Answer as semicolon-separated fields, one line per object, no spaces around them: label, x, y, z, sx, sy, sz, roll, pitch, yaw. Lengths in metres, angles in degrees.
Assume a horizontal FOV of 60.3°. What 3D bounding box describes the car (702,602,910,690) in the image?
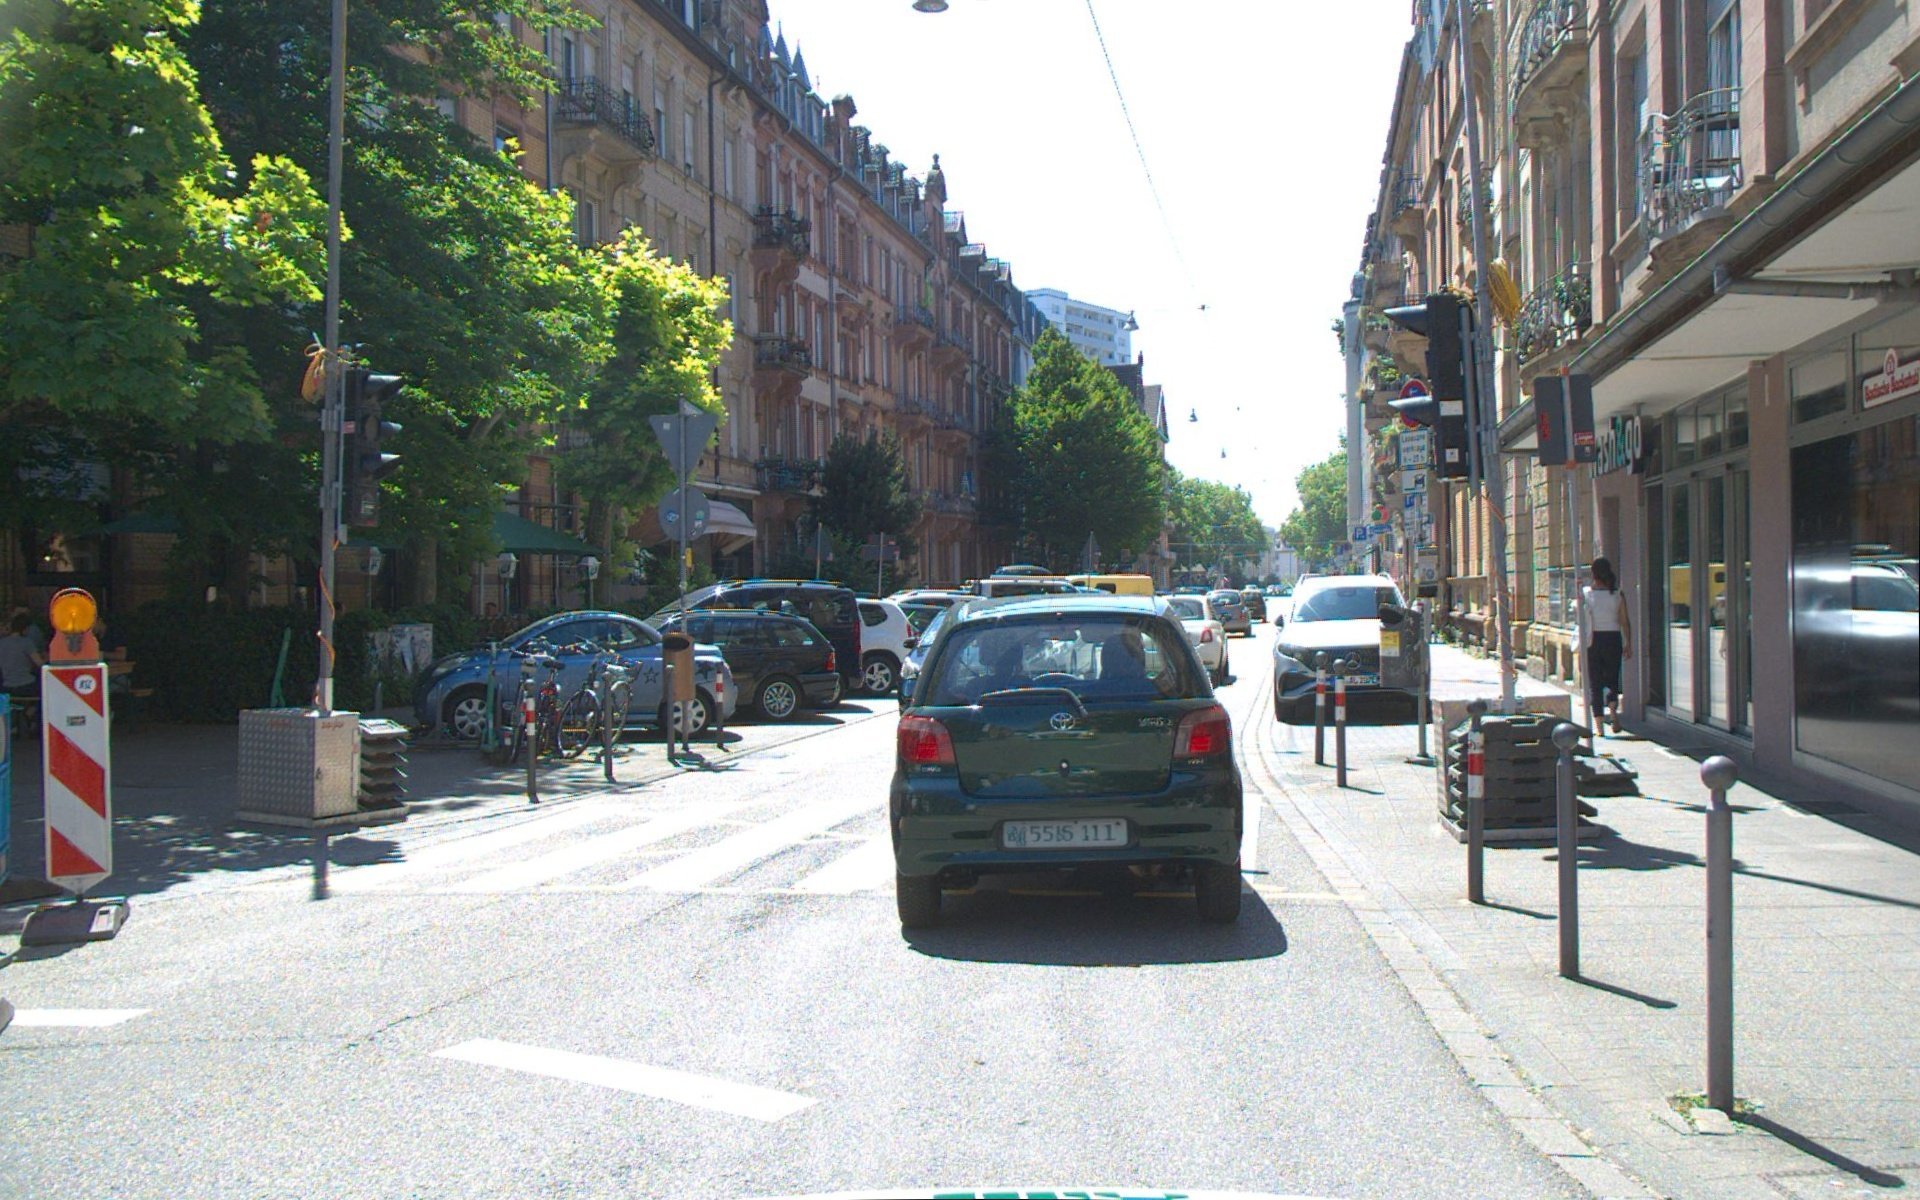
car;-2.770;0.792;29.451;3.555;1.483;1.620;0;0;-12

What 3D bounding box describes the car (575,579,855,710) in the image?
car;-3.672;0.616;24.656;3.925;1.836;1.760;0;0;-18

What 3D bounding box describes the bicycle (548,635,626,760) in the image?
bicycle;-3.896;0.996;17.384;0.481;1.193;1.684;0;1;-2

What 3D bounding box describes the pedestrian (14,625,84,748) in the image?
pedestrian;-9.588;0.900;17.422;0.548;1.241;0.594;-1;0;-23

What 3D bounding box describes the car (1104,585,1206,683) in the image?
car;3.424;0.545;28.711;1.490;1.547;3.267;-1;1;11

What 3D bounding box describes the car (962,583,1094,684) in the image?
car;1.376;0.578;31.556;1.717;1.673;4.381;-4;0;12

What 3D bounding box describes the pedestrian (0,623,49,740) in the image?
pedestrian;-10.388;0.886;18.204;0.548;1.241;0.594;-1;0;-23

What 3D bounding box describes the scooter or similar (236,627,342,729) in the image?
scooter or similar;-8.055;0.918;19.914;0.272;1.140;1.470;1;1;20

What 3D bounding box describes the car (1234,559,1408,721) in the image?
car;4.519;0.440;20.852;1.831;1.743;4.508;-3;0;12

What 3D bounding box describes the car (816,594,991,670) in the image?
car;-1.363;0.725;38.977;3.841;1.647;1.860;-1;0;-12

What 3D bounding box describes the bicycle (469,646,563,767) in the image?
bicycle;-4.514;1.055;16.917;0.480;1.100;1.898;0;1;-1

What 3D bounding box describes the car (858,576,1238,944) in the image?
car;0.363;0.684;8.697;1.581;1.511;3.240;-2;0;-1

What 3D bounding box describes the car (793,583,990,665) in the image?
car;-1.487;0.490;35.933;3.867;1.647;1.848;-1;0;-29

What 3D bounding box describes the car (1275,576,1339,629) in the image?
car;10.238;0.050;48.809;1.717;1.454;4.004;-2;0;12

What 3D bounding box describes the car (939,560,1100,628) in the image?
car;1.884;-0.192;52.783;4.698;2.029;2.044;-1;0;-17

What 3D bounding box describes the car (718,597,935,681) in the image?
car;-2.623;0.730;32.589;3.868;1.496;1.847;-1;0;-30

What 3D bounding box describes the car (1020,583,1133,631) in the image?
car;4.255;0.246;60.599;3.794;1.668;1.780;-1;0;-12

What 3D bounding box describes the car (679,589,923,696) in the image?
car;-2.687;0.678;27.598;3.916;1.687;1.755;0;0;-12

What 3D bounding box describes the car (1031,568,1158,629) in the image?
car;5.187;-0.062;64.050;4.483;2.226;1.992;-1;0;-16

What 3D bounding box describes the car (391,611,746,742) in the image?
car;-4.654;0.847;19.697;3.924;1.399;1.990;0;1;-18

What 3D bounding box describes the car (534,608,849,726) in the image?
car;-3.648;0.849;22.373;3.929;1.437;1.959;0;1;-21

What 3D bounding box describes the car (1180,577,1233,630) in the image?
car;8.033;0.079;53.778;1.490;1.620;3.267;-1;1;12

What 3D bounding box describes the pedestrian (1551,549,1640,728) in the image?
pedestrian;6.041;0.356;15.751;0.627;1.652;0.805;-1;0;12

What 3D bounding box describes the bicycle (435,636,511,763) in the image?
bicycle;-4.934;0.985;16.825;0.331;1.177;1.620;0;1;-1

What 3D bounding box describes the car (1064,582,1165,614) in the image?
car;7.572;-0.111;81.152;4.483;1.459;1.992;-1;0;-16

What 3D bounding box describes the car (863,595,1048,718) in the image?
car;0.036;0.717;22.808;1.717;1.469;4.004;-2;0;12

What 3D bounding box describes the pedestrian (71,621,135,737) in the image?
pedestrian;-9.485;0.861;18.322;0.548;1.241;0.594;-1;0;-23

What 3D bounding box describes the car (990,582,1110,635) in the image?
car;3.120;0.282;57.725;3.841;1.738;1.860;-1;0;-12

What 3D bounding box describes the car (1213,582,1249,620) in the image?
car;12.224;0.037;74.483;1.490;1.620;3.267;-1;1;10
